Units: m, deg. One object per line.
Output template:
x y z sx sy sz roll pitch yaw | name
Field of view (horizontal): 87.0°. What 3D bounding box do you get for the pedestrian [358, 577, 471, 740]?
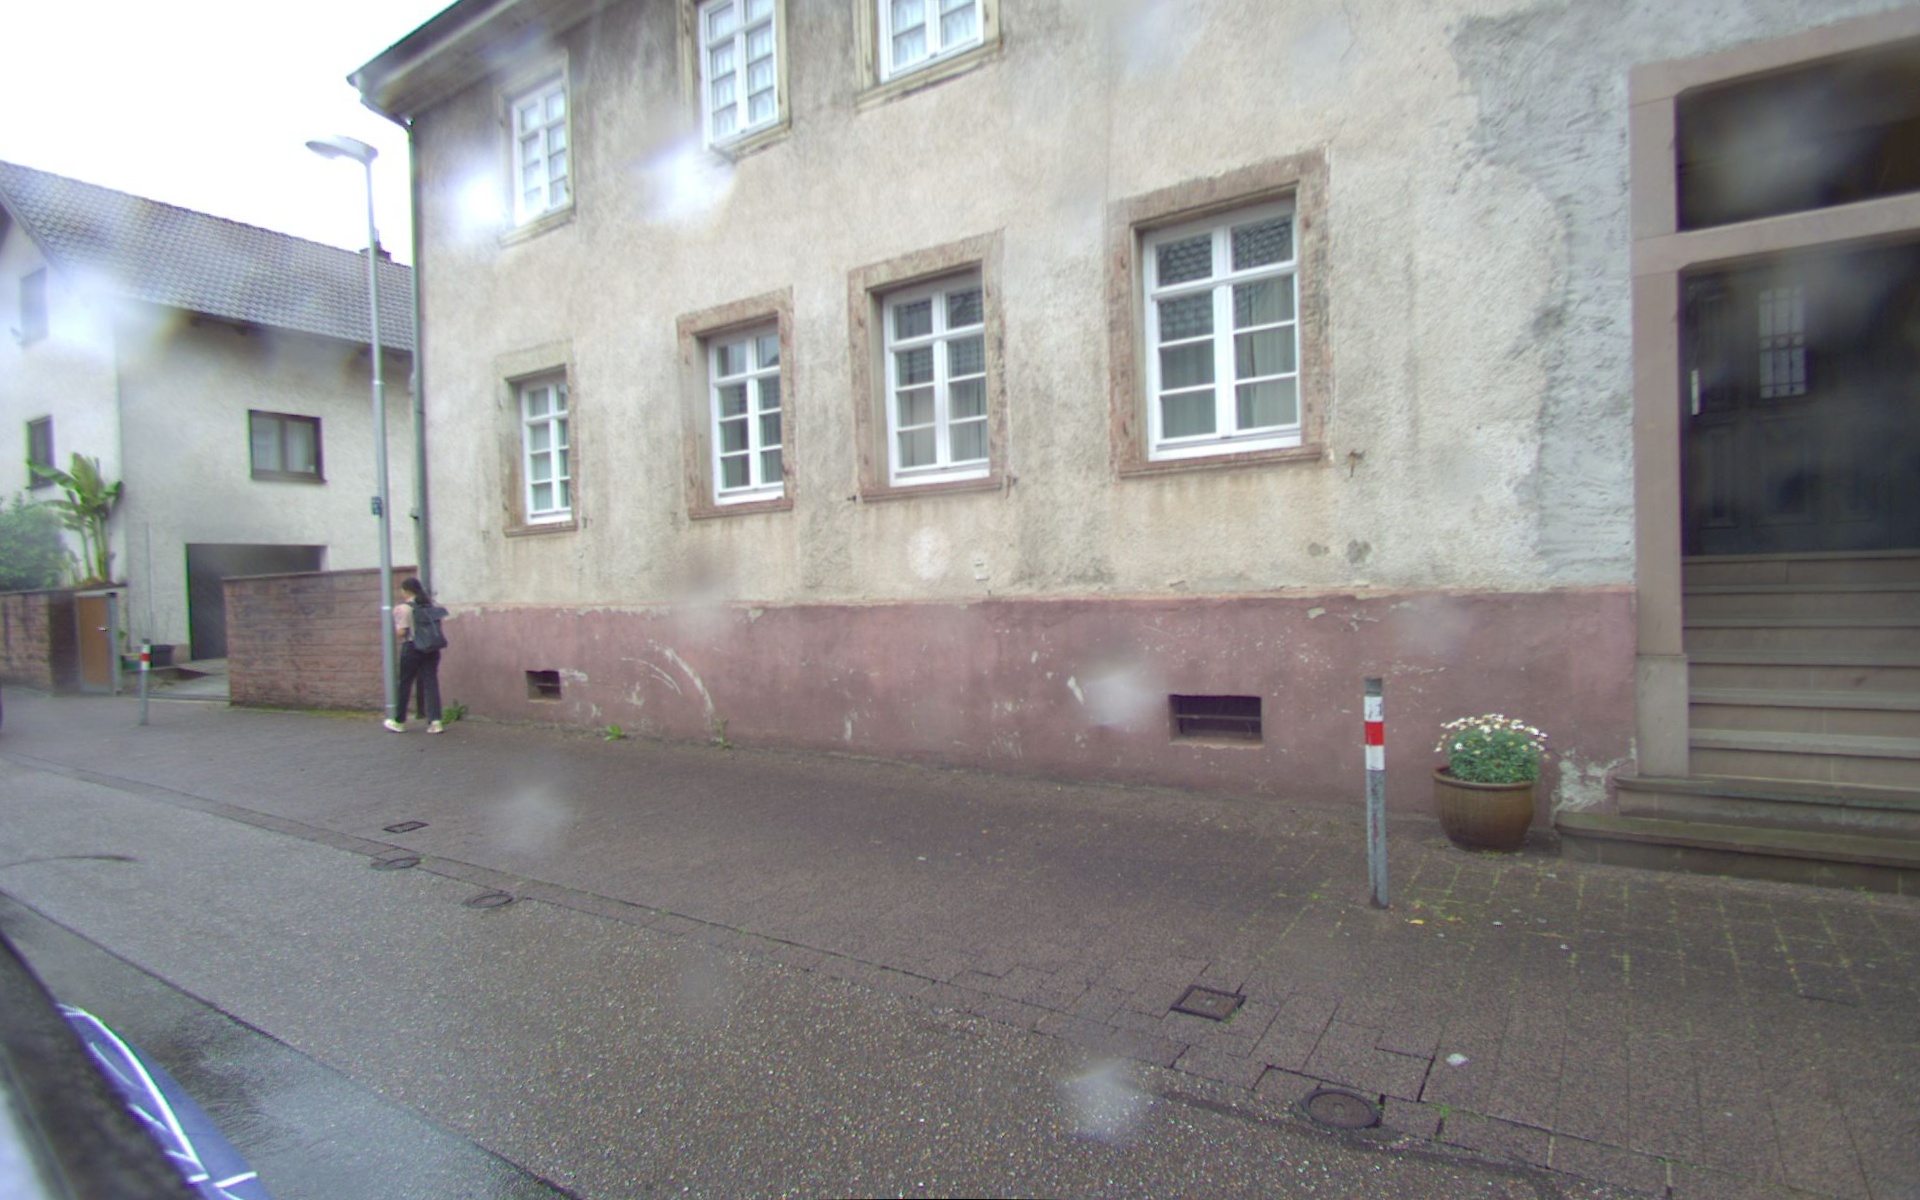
-5.476 0.568 10.165 0.829 1.549 0.568 -1 2 29 | pedestrian
